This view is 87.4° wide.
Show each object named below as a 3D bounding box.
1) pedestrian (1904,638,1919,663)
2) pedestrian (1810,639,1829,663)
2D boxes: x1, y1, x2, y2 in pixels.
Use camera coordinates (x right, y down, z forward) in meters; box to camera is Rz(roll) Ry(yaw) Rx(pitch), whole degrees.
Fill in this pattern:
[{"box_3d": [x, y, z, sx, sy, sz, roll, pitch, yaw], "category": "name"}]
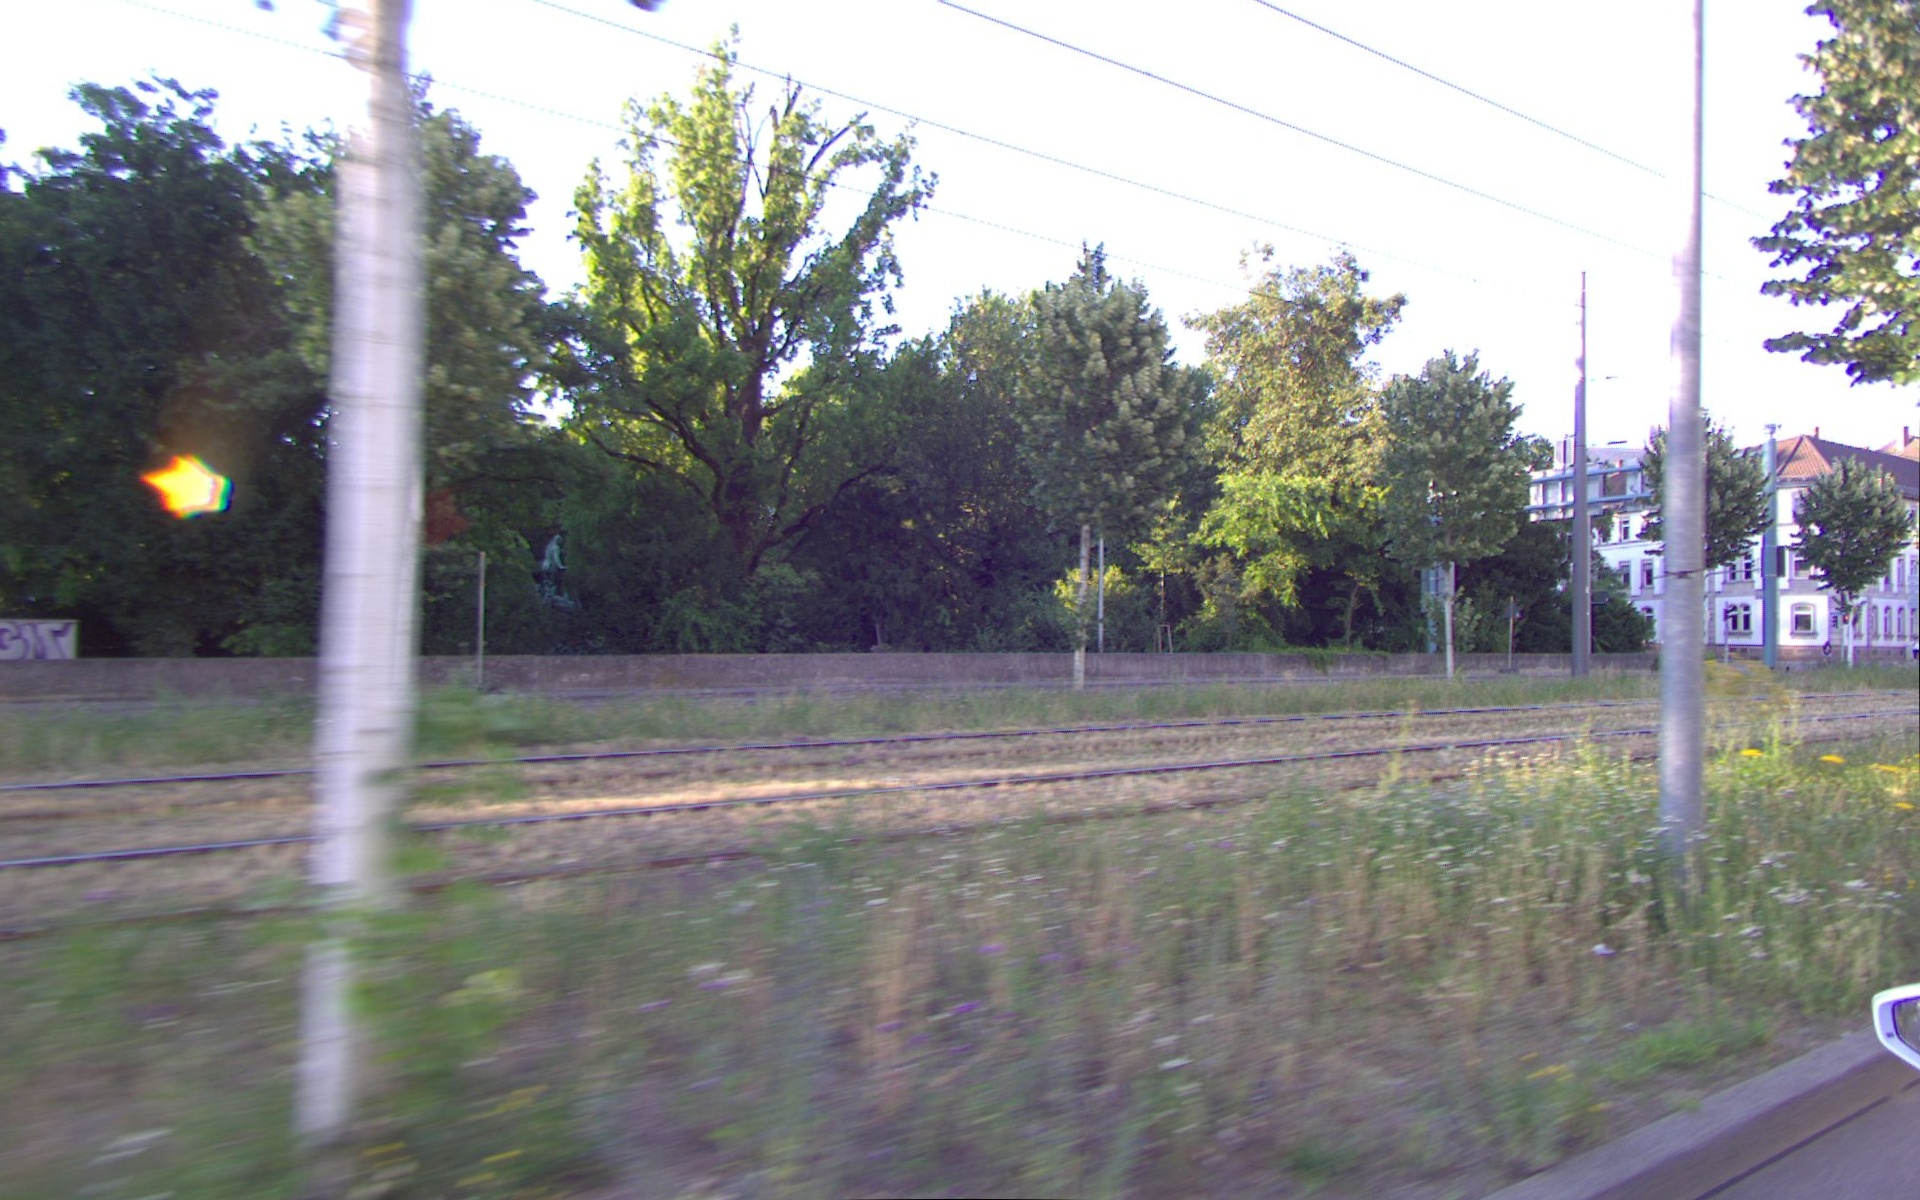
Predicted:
[{"box_3d": [67.040, 3.538, 70.707, 0.693, 1.739, 0.809, 2, 1, 39], "category": "pedestrian"}, {"box_3d": [54.630, 3.246, 63.838, 0.925, 1.478, 0.600, 1, 0, -30], "category": "pedestrian"}]
